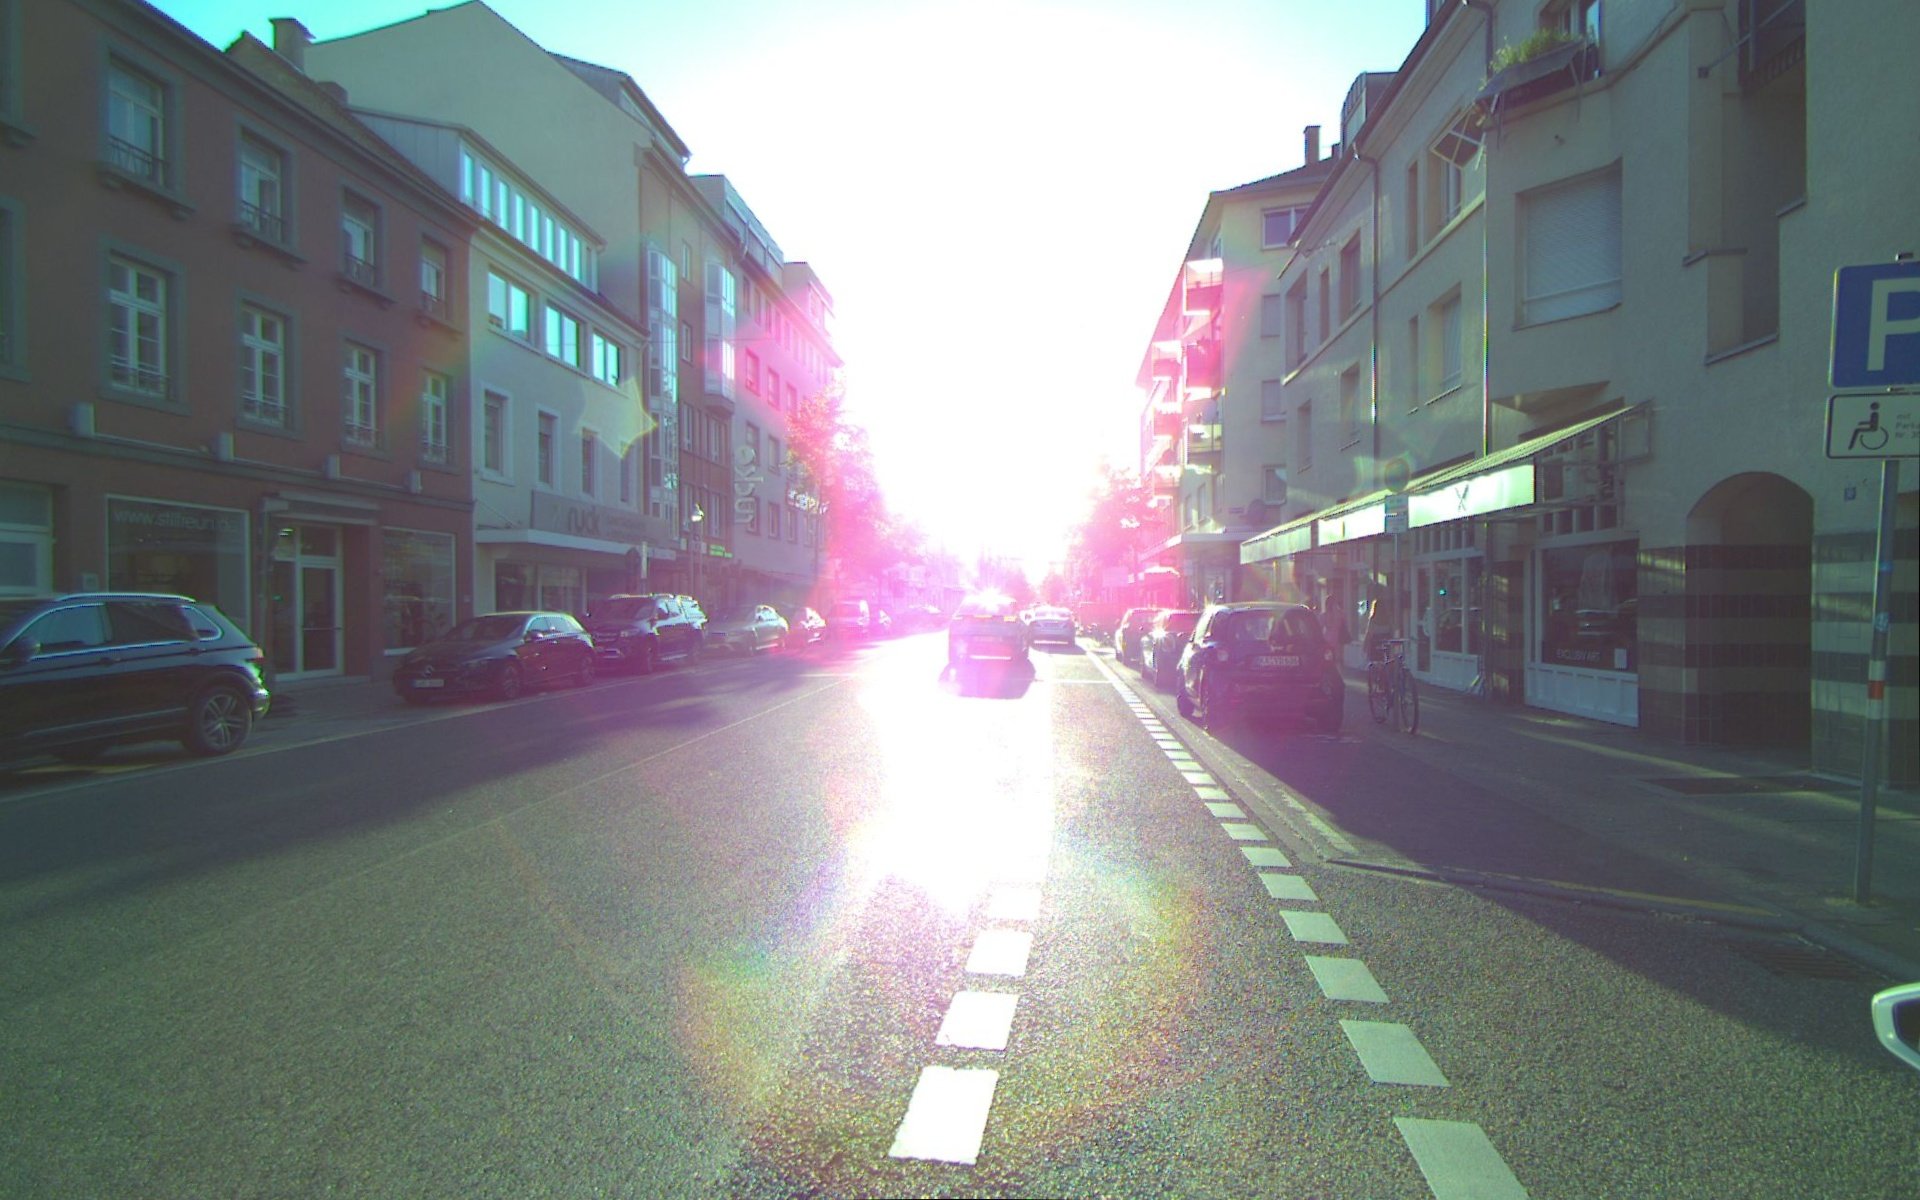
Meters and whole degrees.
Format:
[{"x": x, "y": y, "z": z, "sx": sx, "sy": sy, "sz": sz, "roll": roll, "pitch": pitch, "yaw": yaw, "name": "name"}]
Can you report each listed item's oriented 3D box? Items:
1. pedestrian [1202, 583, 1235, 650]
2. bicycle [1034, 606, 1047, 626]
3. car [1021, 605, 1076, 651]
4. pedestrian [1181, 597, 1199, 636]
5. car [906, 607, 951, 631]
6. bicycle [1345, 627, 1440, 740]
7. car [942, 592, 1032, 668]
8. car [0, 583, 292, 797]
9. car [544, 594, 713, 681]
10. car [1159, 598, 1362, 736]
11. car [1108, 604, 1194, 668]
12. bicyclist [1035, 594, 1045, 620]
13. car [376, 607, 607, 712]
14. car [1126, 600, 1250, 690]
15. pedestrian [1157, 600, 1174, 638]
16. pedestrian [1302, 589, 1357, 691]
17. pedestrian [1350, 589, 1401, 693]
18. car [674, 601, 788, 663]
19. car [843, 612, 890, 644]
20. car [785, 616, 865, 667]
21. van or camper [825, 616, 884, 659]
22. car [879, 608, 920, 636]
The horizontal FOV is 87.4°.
[{"x": 6.891, "y": 0.443, "z": 26.799, "sx": 0.706, "sy": 1.757, "sz": 0.738, "roll": -1, "pitch": 0, "yaw": 5, "name": "pedestrian"}, {"x": 5.126, "y": 0.996, "z": 64.071, "sx": 0.652, "sy": 1.259, "sz": 2.131, "roll": 1, "pitch": 0, "yaw": 8, "name": "bicycle"}, {"x": 3.392, "y": 1.041, "z": 38.960, "sx": 1.960, "sy": 1.626, "sz": 4.406, "roll": 1, "pitch": 0, "yaw": 4, "name": "car"}, {"x": 10.659, "y": 0.766, "z": 46.514, "sx": 0.706, "sy": 1.815, "sz": 0.667, "roll": -1, "pitch": 0, "yaw": 6, "name": "pedestrian"}, {"x": -2.384, "y": 1.390, "z": 74.145, "sx": 1.819, "sy": 1.670, "sz": 4.274, "roll": 1, "pitch": 0, "yaw": -24, "name": "car"}, {"x": 5.269, "y": 0.969, "z": 12.343, "sx": 0.549, "sy": 1.222, "sz": 1.978, "roll": 0, "pitch": 0, "yaw": 7, "name": "bicycle"}, {"x": 0.771, "y": 0.710, "z": 25.554, "sx": 1.841, "sy": 1.720, "sz": 4.323, "roll": 1, "pitch": 0, "yaw": 7, "name": "car"}, {"x": -8.525, "y": 0.760, "z": 9.024, "sx": 1.764, "sy": 1.721, "sz": 4.462, "roll": -2, "pitch": 0, "yaw": 4, "name": "car"}, {"x": -7.651, "y": 0.808, "z": 23.842, "sx": 1.960, "sy": 1.801, "sz": 5.320, "roll": -1, "pitch": 0, "yaw": 3, "name": "car"}, {"x": 3.875, "y": 0.787, "z": 13.643, "sx": 1.759, "sy": 1.601, "sz": 3.968, "roll": 0, "pitch": 0, "yaw": 3, "name": "car"}, {"x": 5.027, "y": 0.900, "z": 26.902, "sx": 1.759, "sy": 1.601, "sz": 3.788, "roll": 0, "pitch": 0, "yaw": 3, "name": "car"}, {"x": 5.085, "y": 0.455, "z": 64.018, "sx": 0.537, "sy": 1.602, "sz": 0.803, "roll": -1, "pitch": 0, "yaw": 8, "name": "bicyclist"}, {"x": -7.969, "y": 0.935, "z": 17.621, "sx": 1.656, "sy": 1.508, "sz": 4.412, "roll": -3, "pitch": 0, "yaw": 4, "name": "car"}, {"x": 4.382, "y": 0.813, "z": 19.830, "sx": 1.759, "sy": 1.601, "sz": 3.788, "roll": 0, "pitch": 0, "yaw": 3, "name": "car"}, {"x": 9.775, "y": 0.895, "z": 47.879, "sx": 0.706, "sy": 1.815, "sz": 0.667, "roll": -1, "pitch": 0, "yaw": 6, "name": "pedestrian"}, {"x": 6.396, "y": 0.676, "z": 17.417, "sx": 0.619, "sy": 1.722, "sz": 1.041, "roll": -1, "pitch": 0, "yaw": 4, "name": "pedestrian"}, {"x": 7.071, "y": 0.679, "z": 17.129, "sx": 0.550, "sy": 1.722, "sz": 0.832, "roll": -1, "pitch": 0, "yaw": 4, "name": "pedestrian"}, {"x": -6.782, "y": 0.899, "z": 30.279, "sx": 1.960, "sy": 1.677, "sz": 4.630, "roll": -1, "pitch": 0, "yaw": 6, "name": "car"}, {"x": -4.796, "y": 1.417, "z": 51.780, "sx": 1.661, "sy": 1.523, "sz": 3.789, "roll": 0, "pitch": 0, "yaw": 7, "name": "car"}, {"x": -4.807, "y": 1.456, "z": 36.394, "sx": 1.960, "sy": 1.677, "sz": 4.482, "roll": 0, "pitch": 0, "yaw": 4, "name": "car"}, {"x": -4.755, "y": 1.679, "z": 45.954, "sx": 1.757, "sy": 1.797, "sz": 4.560, "roll": 0, "pitch": 0, "yaw": 7, "name": "van or camper"}, {"x": -3.386, "y": 1.219, "z": 57.019, "sx": 1.661, "sy": 1.523, "sz": 3.789, "roll": 0, "pitch": 0, "yaw": 7, "name": "car"}]
